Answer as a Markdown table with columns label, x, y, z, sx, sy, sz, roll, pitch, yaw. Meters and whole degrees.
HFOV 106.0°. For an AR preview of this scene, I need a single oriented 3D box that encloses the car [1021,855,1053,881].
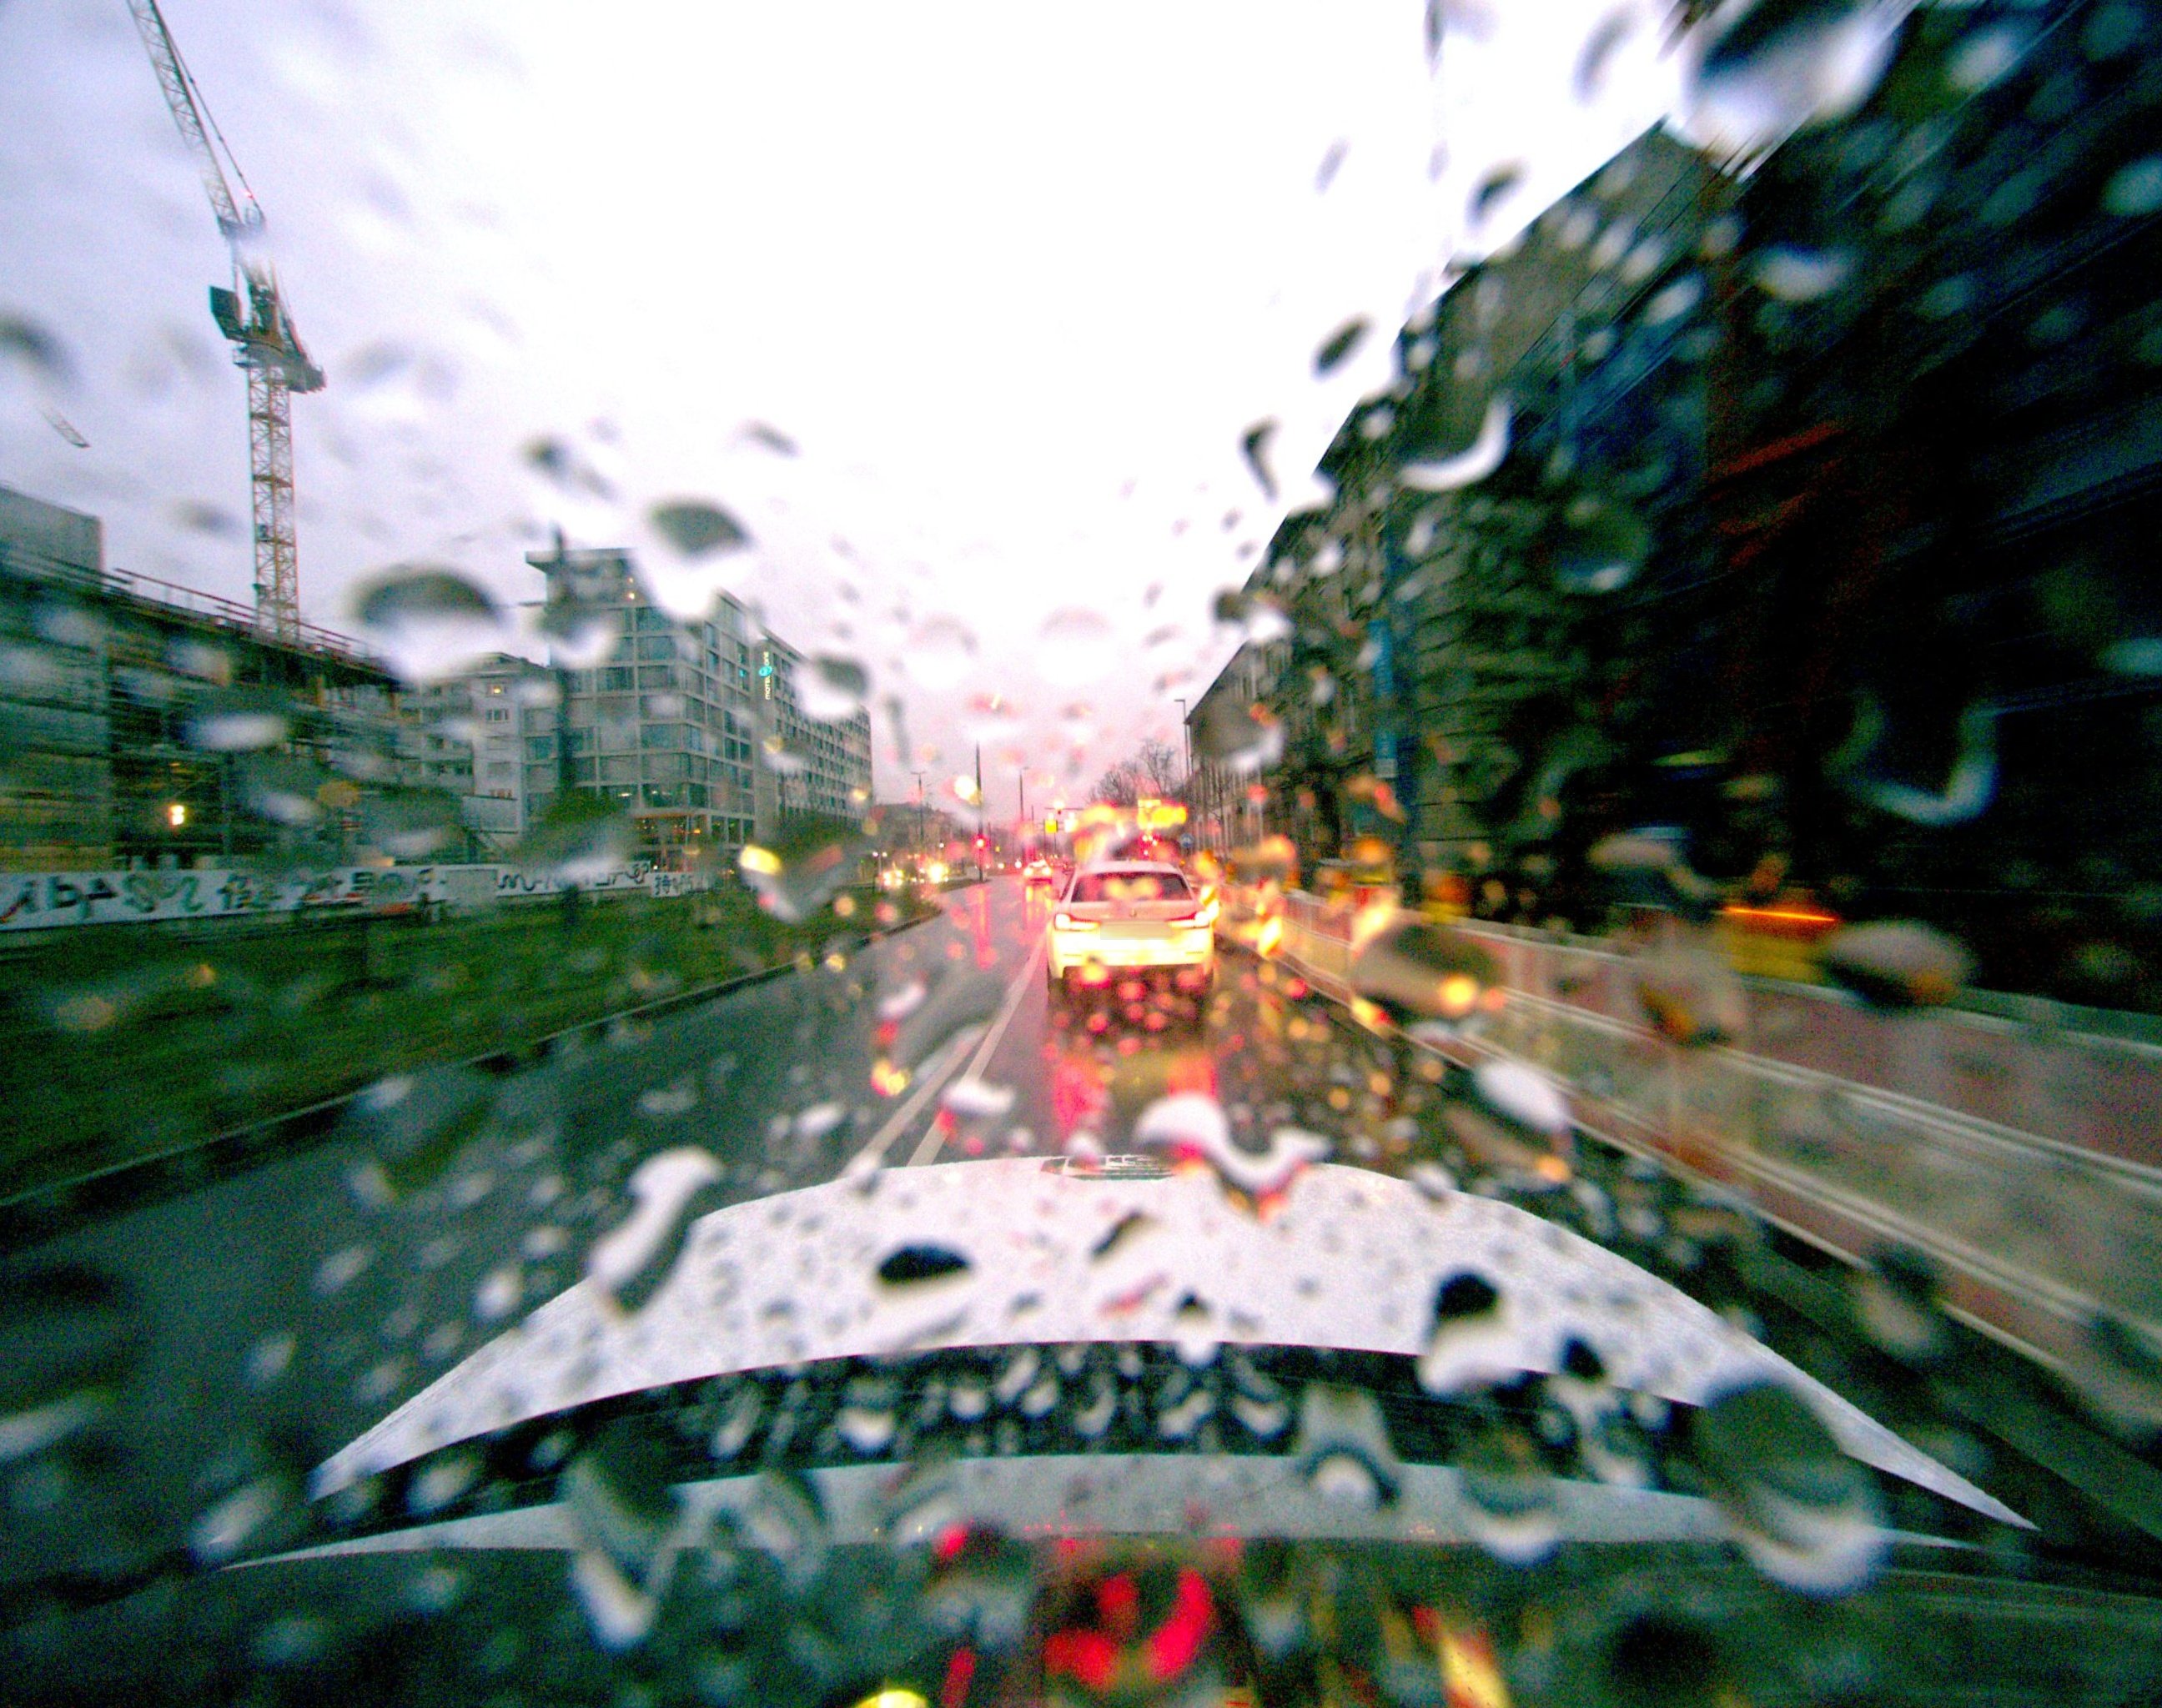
| label | x | y | z | sx | sy | sz | roll | pitch | yaw |
| --- | --- | --- | --- | --- | --- | --- | --- | --- | --- |
| car | -2.852 | 0.903 | 53.616 | 1.895 | 1.642 | 3.999 | -1 | 0 | 0 |

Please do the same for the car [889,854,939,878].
| label | x | y | z | sx | sy | sz | roll | pitch | yaw |
| --- | --- | --- | --- | --- | --- | --- | --- | --- | --- |
| car | -14.486 | 1.045 | 70.499 | 3.999 | 1.975 | 1.987 | -1 | 0 | -19 |

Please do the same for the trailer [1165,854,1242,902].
| label | x | y | z | sx | sy | sz | roll | pitch | yaw |
| --- | --- | --- | --- | --- | --- | --- | --- | --- | --- |
| trailer | 3.805 | 0.714 | 25.793 | 1.845 | 1.346 | 3.527 | -2 | 0 | 0 |

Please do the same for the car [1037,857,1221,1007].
| label | x | y | z | sx | sy | sz | roll | pitch | yaw |
| --- | --- | --- | --- | --- | --- | --- | --- | --- | --- |
| car | 0.456 | 0.800 | 10.755 | 1.846 | 1.465 | 4.944 | -1 | 0 | -1 |

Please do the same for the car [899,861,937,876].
| label | x | y | z | sx | sy | sz | roll | pitch | yaw |
| --- | --- | --- | --- | --- | --- | --- | --- | --- | --- |
| car | -17.402 | 1.585 | 86.918 | 3.499 | 1.492 | 1.755 | -1 | 0 | 24 |

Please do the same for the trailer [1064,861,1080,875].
| label | x | y | z | sx | sy | sz | roll | pitch | yaw |
| --- | --- | --- | --- | --- | --- | --- | --- | --- | --- |
| trailer | -1.123 | 1.723 | 99.811 | 1.830 | 1.643 | 3.996 | -1 | 0 | -3 |

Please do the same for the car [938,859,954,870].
| label | x | y | z | sx | sy | sz | roll | pitch | yaw |
| --- | --- | --- | --- | --- | --- | --- | --- | --- | --- |
| car | -20.617 | 1.575 | 124.707 | 1.552 | 1.659 | 3.402 | -1 | 0 | 7 |

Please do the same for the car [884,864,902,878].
| label | x | y | z | sx | sy | sz | roll | pitch | yaw |
| --- | --- | --- | --- | --- | --- | --- | --- | --- | --- |
| car | -21.696 | 1.972 | 94.224 | 1.738 | 1.492 | 3.532 | -1 | 0 | -8 |

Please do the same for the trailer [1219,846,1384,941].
| label | x | y | z | sx | sy | sz | roll | pitch | yaw |
| --- | --- | --- | --- | --- | --- | --- | --- | --- | --- |
| trailer | 4.016 | 0.642 | 15.747 | 1.829 | 1.490 | 4.846 | -2 | 0 | 0 |
